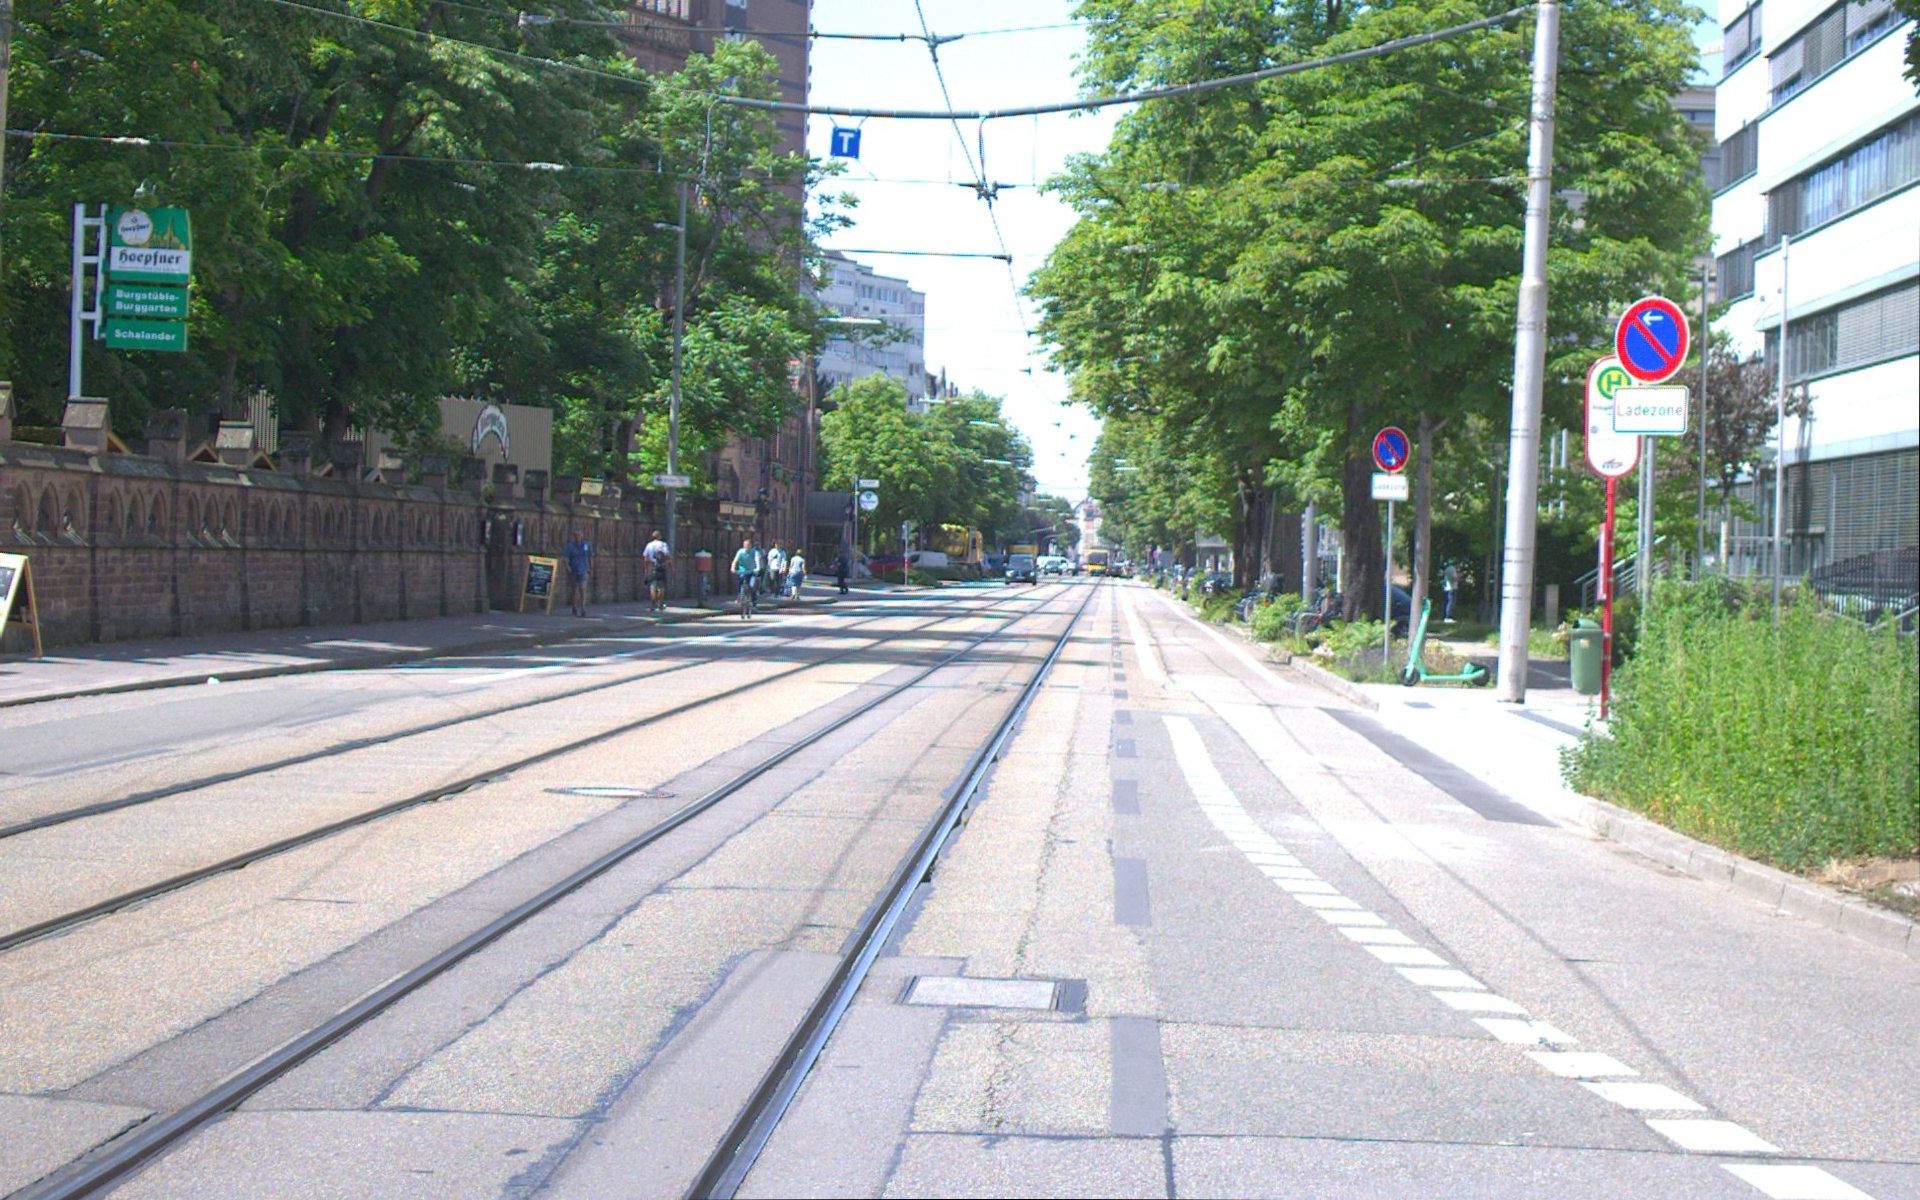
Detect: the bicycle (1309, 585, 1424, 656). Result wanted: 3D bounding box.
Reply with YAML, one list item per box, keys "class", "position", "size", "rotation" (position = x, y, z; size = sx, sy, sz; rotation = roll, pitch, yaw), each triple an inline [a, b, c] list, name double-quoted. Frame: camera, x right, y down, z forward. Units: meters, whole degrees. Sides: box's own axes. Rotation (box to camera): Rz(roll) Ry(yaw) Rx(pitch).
- class: "bicycle"
  position: [6.685, 0.337, 56.570]
  size: [1.788, 1.098, 0.532]
  rotation: [2, 1, 1]

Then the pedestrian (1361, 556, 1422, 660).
- class: "pedestrian"
  position: [7.200, 0.131, 57.394]
  size: [0.795, 1.709, 0.584]
  rotation: [1, 1, -44]

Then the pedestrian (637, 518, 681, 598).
- class: "pedestrian"
  position: [-6.789, -0.952, 77.564]
  size: [0.815, 1.764, 0.924]
  rotation: [2, 1, 2]

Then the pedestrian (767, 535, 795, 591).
- class: "pedestrian"
  position: [-5.592, -1.147, 107.407]
  size: [0.743, 1.722, 0.867]
  rotation: [2, 1, 2]

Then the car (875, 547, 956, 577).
- class: "car"
  position: [-2.848, -2.433, 220.873]
  size: [4.727, 1.711, 2.001]
  rotation: [2, 1, -24]

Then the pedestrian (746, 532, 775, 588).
- class: "pedestrian"
  position: [-6.317, -1.274, 108.859]
  size: [0.743, 1.722, 0.867]
  rotation: [2, 1, 2]

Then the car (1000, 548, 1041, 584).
- class: "car"
  position: [3.566, -2.007, 201.575]
  size: [1.994, 2.007, 3.999]
  rotation: [3, 1, 5]

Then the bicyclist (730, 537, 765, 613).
- class: "bicyclist"
  position: [-4.747, -0.552, 76.862]
  size: [0.642, 1.674, 0.815]
  rotation: [2, 1, 3]

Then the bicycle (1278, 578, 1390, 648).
- class: "bicycle"
  position: [6.881, 0.240, 63.263]
  size: [1.997, 1.205, 0.662]
  rotation: [2, 1, 7]

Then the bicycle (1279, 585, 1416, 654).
- class: "bicycle"
  position: [7.282, 0.360, 64.648]
  size: [2.511, 1.205, 0.741]
  rotation: [2, 1, 7]

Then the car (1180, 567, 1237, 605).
- class: "car"
  position: [9.386, -0.541, 129.928]
  size: [1.994, 1.305, 4.000]
  rotation: [2, 1, 3]

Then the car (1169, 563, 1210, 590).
- class: "car"
  position: [12.150, -1.257, 182.226]
  size: [1.994, 1.305, 4.000]
  rotation: [2, 1, 3]

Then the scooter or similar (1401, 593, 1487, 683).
- class: "scooter or similar"
  position: [6.273, 0.488, 44.580]
  size: [1.058, 1.152, 0.370]
  rotation: [1, 0, 3]

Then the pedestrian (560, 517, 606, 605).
- class: "pedestrian"
  position: [-7.622, -0.789, 69.510]
  size: [0.743, 1.722, 0.867]
  rotation: [2, 1, 2]

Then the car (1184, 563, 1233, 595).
- class: "car"
  position: [10.900, -0.940, 151.284]
  size: [1.994, 1.305, 4.000]
  rotation: [2, 1, 3]

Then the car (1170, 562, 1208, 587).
- class: "car"
  position: [12.961, -1.443, 194.916]
  size: [1.994, 1.305, 4.000]
  rotation: [2, 1, 3]

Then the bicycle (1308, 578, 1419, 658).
- class: "bicycle"
  position: [6.773, 0.304, 57.741]
  size: [1.752, 1.266, 0.530]
  rotation: [2, 1, 0]

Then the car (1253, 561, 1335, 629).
- class: "car"
  position: [7.797, -0.144, 80.515]
  size: [1.634, 1.496, 4.000]
  rotation: [2, 1, 3]

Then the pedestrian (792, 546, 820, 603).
- class: "pedestrian"
  position: [-4.784, -0.793, 106.688]
  size: [0.743, 1.722, 0.867]
  rotation: [2, 1, 2]

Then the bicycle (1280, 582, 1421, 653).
- class: "bicycle"
  position: [7.101, 0.316, 62.520]
  size: [2.511, 1.205, 0.648]
  rotation: [2, 1, 7]

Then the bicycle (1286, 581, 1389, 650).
- class: "bicycle"
  position: [6.779, 0.275, 61.824]
  size: [1.752, 1.161, 0.530]
  rotation: [2, 1, 0]

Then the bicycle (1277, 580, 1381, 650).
- class: "bicycle"
  position: [6.577, 0.270, 61.332]
  size: [1.752, 1.161, 0.530]
  rotation: [2, 1, 0]

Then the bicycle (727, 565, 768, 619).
- class: "bicycle"
  position: [-4.741, -0.187, 76.744]
  size: [0.701, 1.200, 2.240]
  rotation: [0, 1, 2]

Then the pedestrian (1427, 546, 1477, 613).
- class: "pedestrian"
  position: [13.747, -0.565, 96.050]
  size: [1.215, 1.821, 0.831]
  rotation: [2, 1, -1]

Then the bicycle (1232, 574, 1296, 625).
- class: "bicycle"
  position: [7.732, -0.012, 87.517]
  size: [1.564, 1.237, 0.437]
  rotation: [2, 1, 4]

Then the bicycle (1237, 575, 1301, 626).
- class: "bicycle"
  position: [7.822, 0.003, 86.928]
  size: [1.564, 1.237, 0.437]
  rotation: [2, 1, 4]

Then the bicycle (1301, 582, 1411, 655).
- class: "bicycle"
  position: [6.712, 0.310, 58.340]
  size: [1.752, 1.161, 0.530]
  rotation: [2, 1, 0]
